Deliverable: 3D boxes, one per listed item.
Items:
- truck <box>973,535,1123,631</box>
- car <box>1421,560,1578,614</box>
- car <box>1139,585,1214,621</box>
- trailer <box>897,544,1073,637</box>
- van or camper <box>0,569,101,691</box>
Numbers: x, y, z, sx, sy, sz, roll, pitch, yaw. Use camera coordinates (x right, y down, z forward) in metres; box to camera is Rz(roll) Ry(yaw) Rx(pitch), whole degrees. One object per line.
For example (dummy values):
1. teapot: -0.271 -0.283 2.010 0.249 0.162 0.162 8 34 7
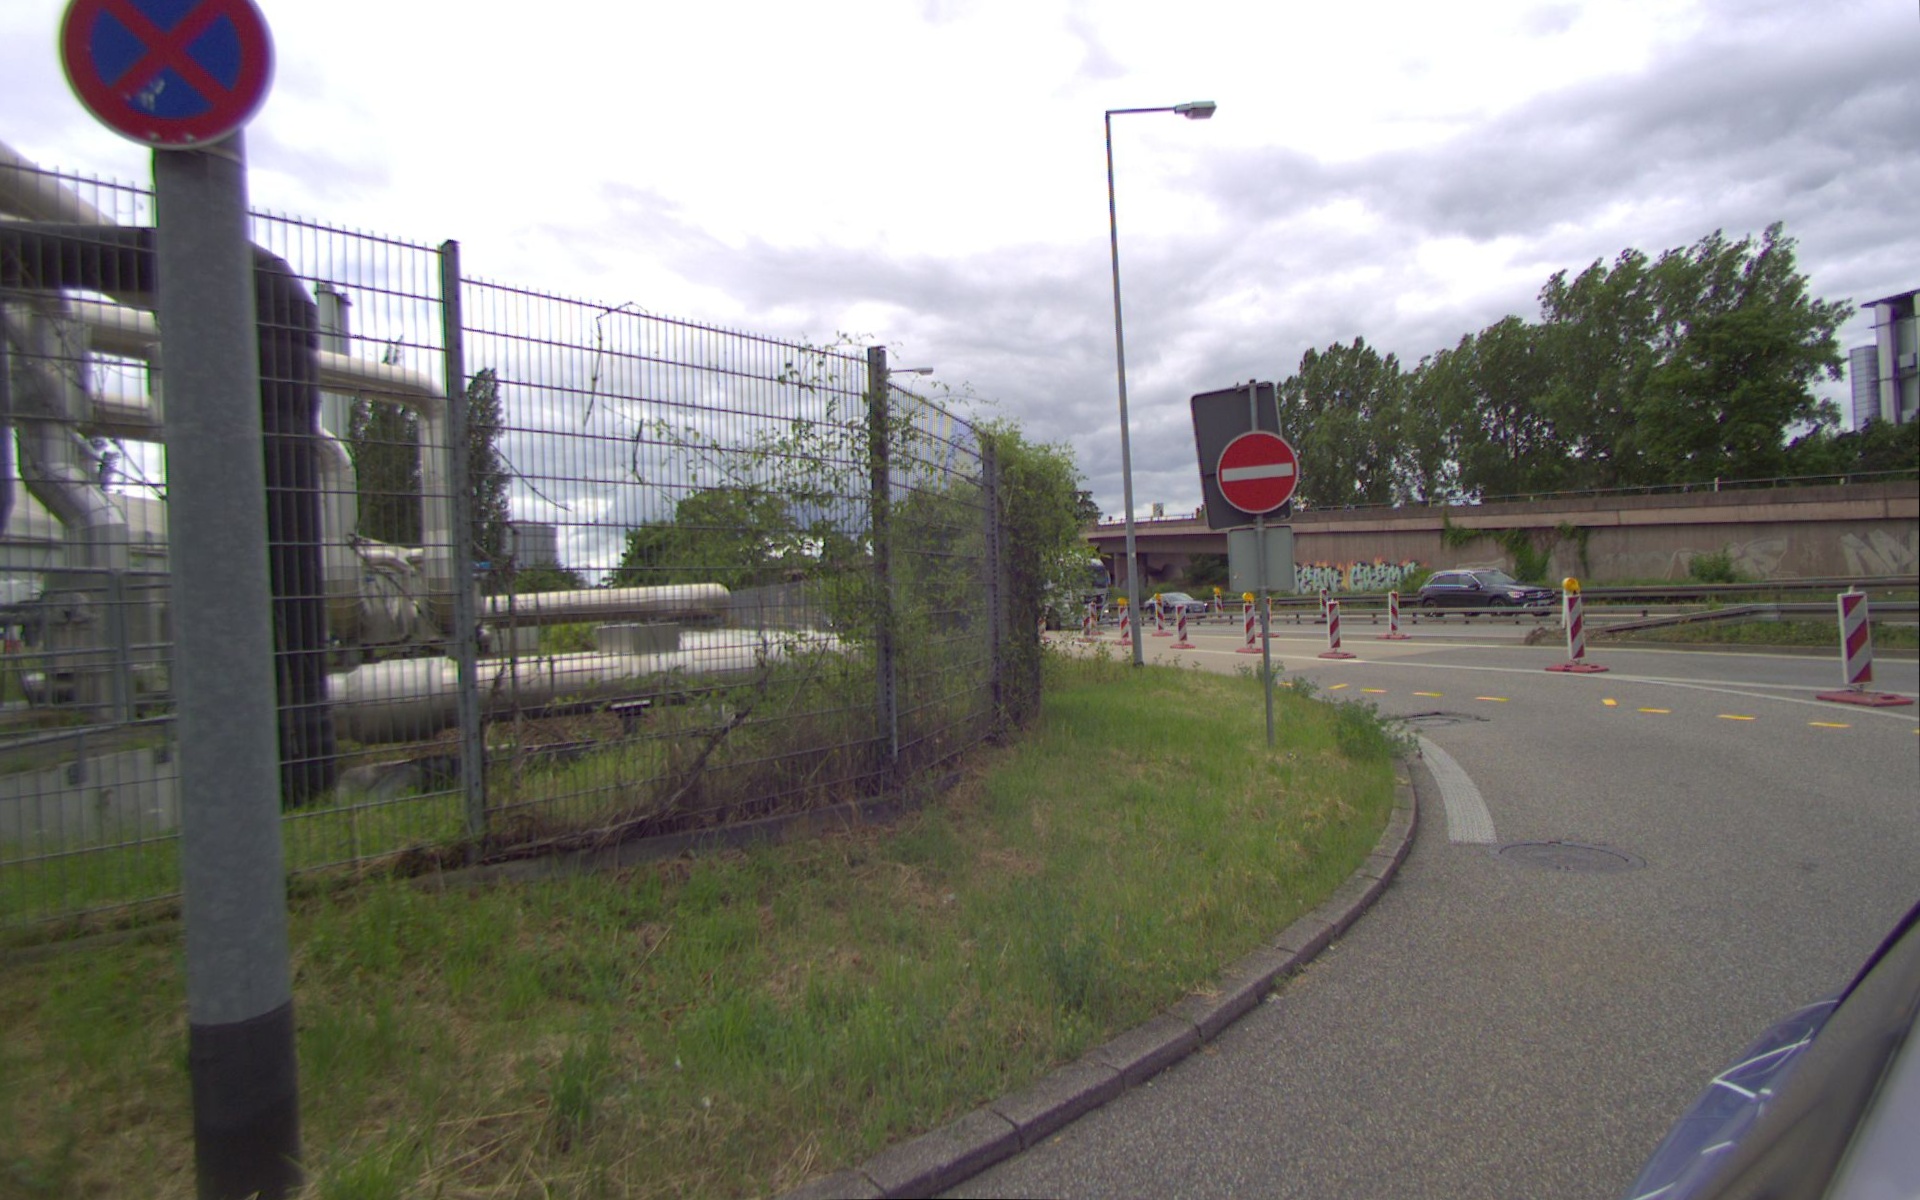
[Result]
1. truck: 4.201 -0.711 50.558 3.103 4.181 8.147 -5 1 -29
2. car: 17.349 -0.383 32.798 1.940 1.530 4.300 -3 0 -17
3. car: 11.172 0.183 52.574 1.897 1.725 4.007 -3 0 -20
4. trailer: 0.943 -0.288 56.254 3.105 4.377 13.273 -5 0 -29
5. van or camper: -23.224 0.782 22.329 6.002 2.580 2.579 -3 0 -8
